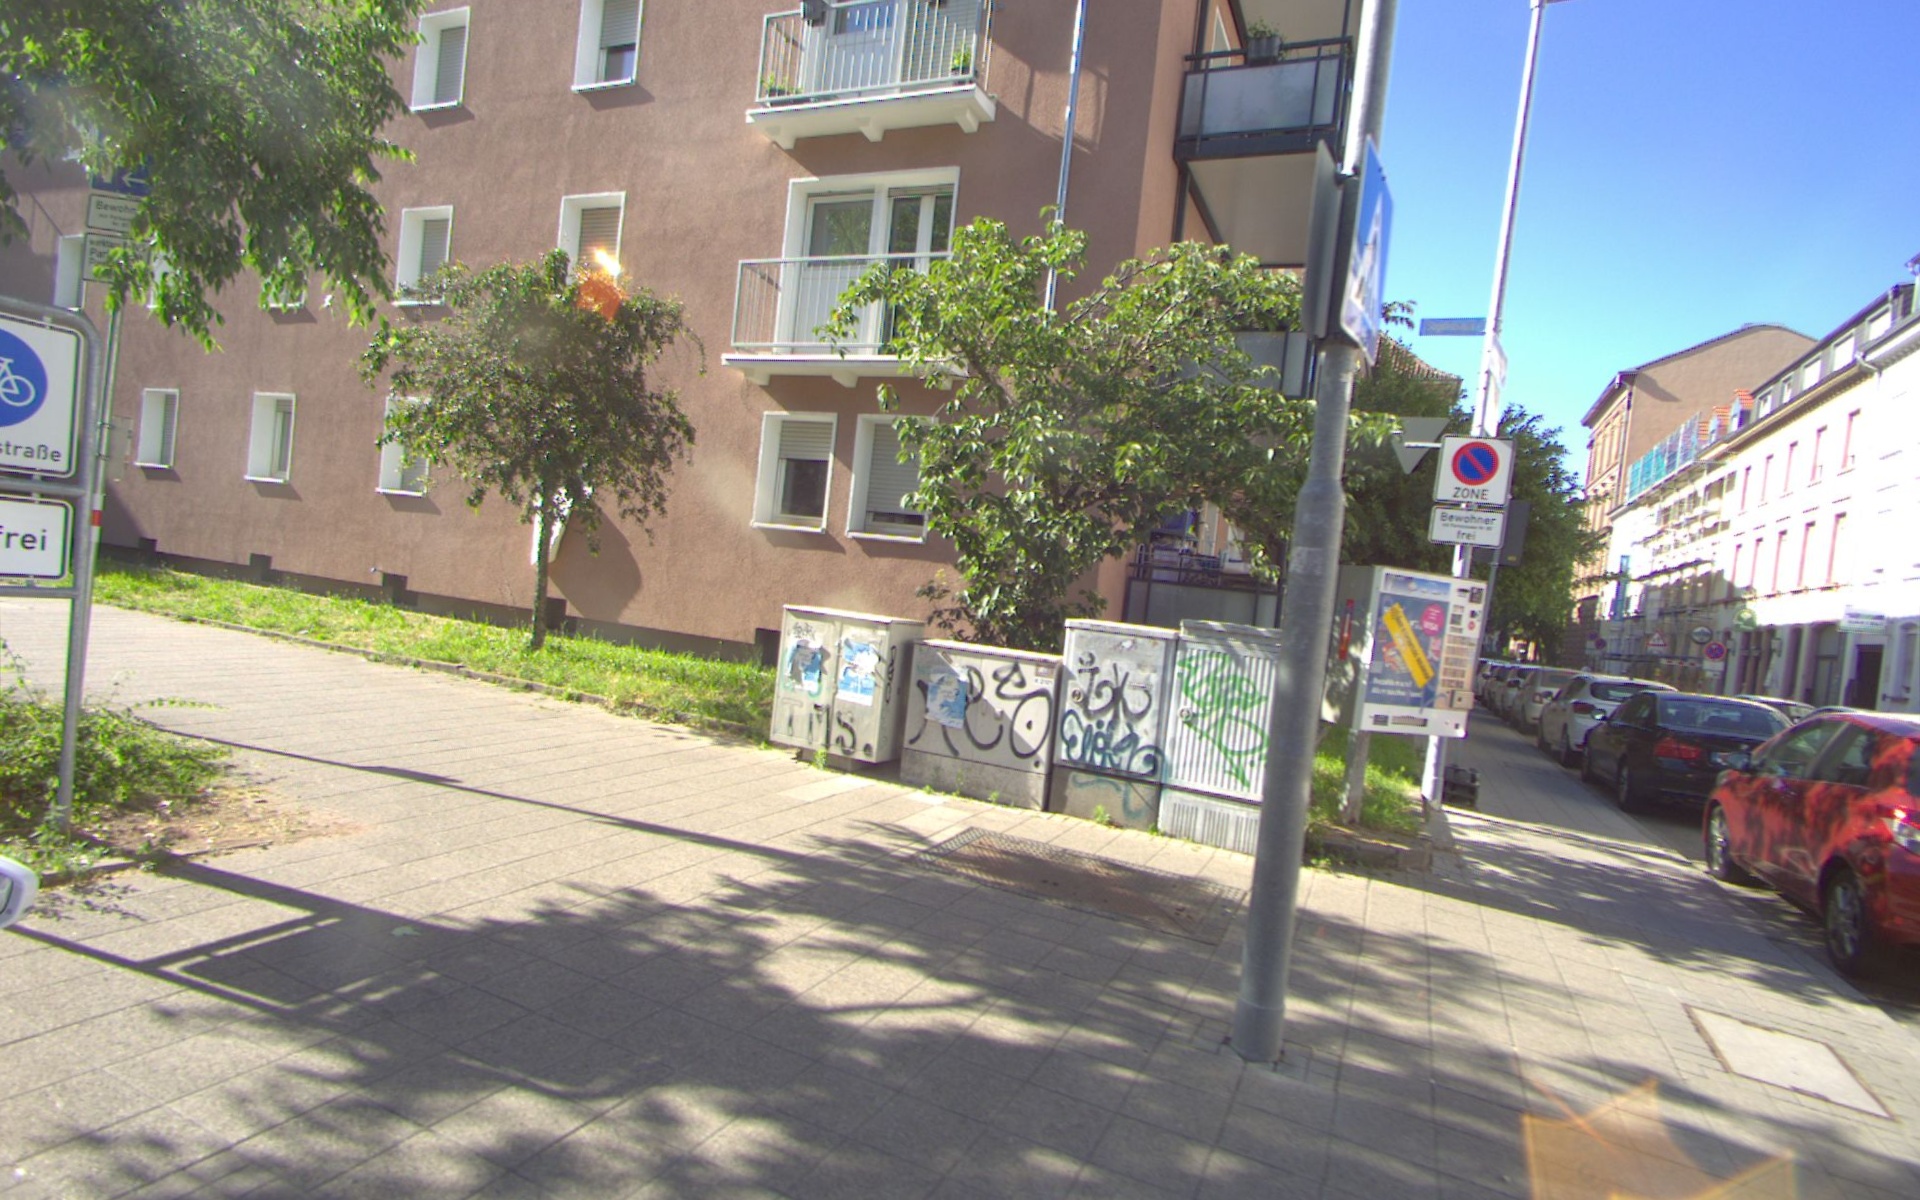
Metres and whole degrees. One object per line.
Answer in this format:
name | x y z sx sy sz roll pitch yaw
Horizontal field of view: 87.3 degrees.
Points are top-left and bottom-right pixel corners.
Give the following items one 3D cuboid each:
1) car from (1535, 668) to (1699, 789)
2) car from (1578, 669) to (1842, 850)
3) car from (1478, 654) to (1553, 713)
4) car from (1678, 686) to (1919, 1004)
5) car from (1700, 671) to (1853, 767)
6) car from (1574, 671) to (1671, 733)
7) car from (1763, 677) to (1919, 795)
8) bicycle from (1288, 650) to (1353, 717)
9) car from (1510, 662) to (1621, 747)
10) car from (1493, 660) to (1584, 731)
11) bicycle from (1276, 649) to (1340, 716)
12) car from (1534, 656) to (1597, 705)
car | 10.830 2.032 16.841 1.629 1.519 3.758 7 1 25
car | 8.810 1.741 12.210 1.629 1.519 4.075 7 1 25
car | 17.275 2.553 31.407 1.629 1.519 3.758 7 1 25
car | 6.429 1.505 6.802 1.660 1.519 3.803 5 0 23
car | 20.273 2.871 25.186 1.867 1.883 3.990 7 1 25
car | 20.405 3.098 31.161 1.804 1.475 3.957 7 1 25
car | 18.161 2.686 20.399 1.867 1.883 3.990 7 1 25
bicycle | 6.763 1.560 18.929 0.250 1.085 1.209 6 1 -25
car | 13.607 2.277 22.797 1.629 1.519 3.758 7 1 25
car | 15.254 2.467 26.704 1.629 1.519 3.758 7 1 25
bicycle | 6.489 1.530 18.791 0.250 1.084 1.209 6 1 -25
car | 27.781 3.666 46.261 1.867 1.883 3.990 7 1 25
